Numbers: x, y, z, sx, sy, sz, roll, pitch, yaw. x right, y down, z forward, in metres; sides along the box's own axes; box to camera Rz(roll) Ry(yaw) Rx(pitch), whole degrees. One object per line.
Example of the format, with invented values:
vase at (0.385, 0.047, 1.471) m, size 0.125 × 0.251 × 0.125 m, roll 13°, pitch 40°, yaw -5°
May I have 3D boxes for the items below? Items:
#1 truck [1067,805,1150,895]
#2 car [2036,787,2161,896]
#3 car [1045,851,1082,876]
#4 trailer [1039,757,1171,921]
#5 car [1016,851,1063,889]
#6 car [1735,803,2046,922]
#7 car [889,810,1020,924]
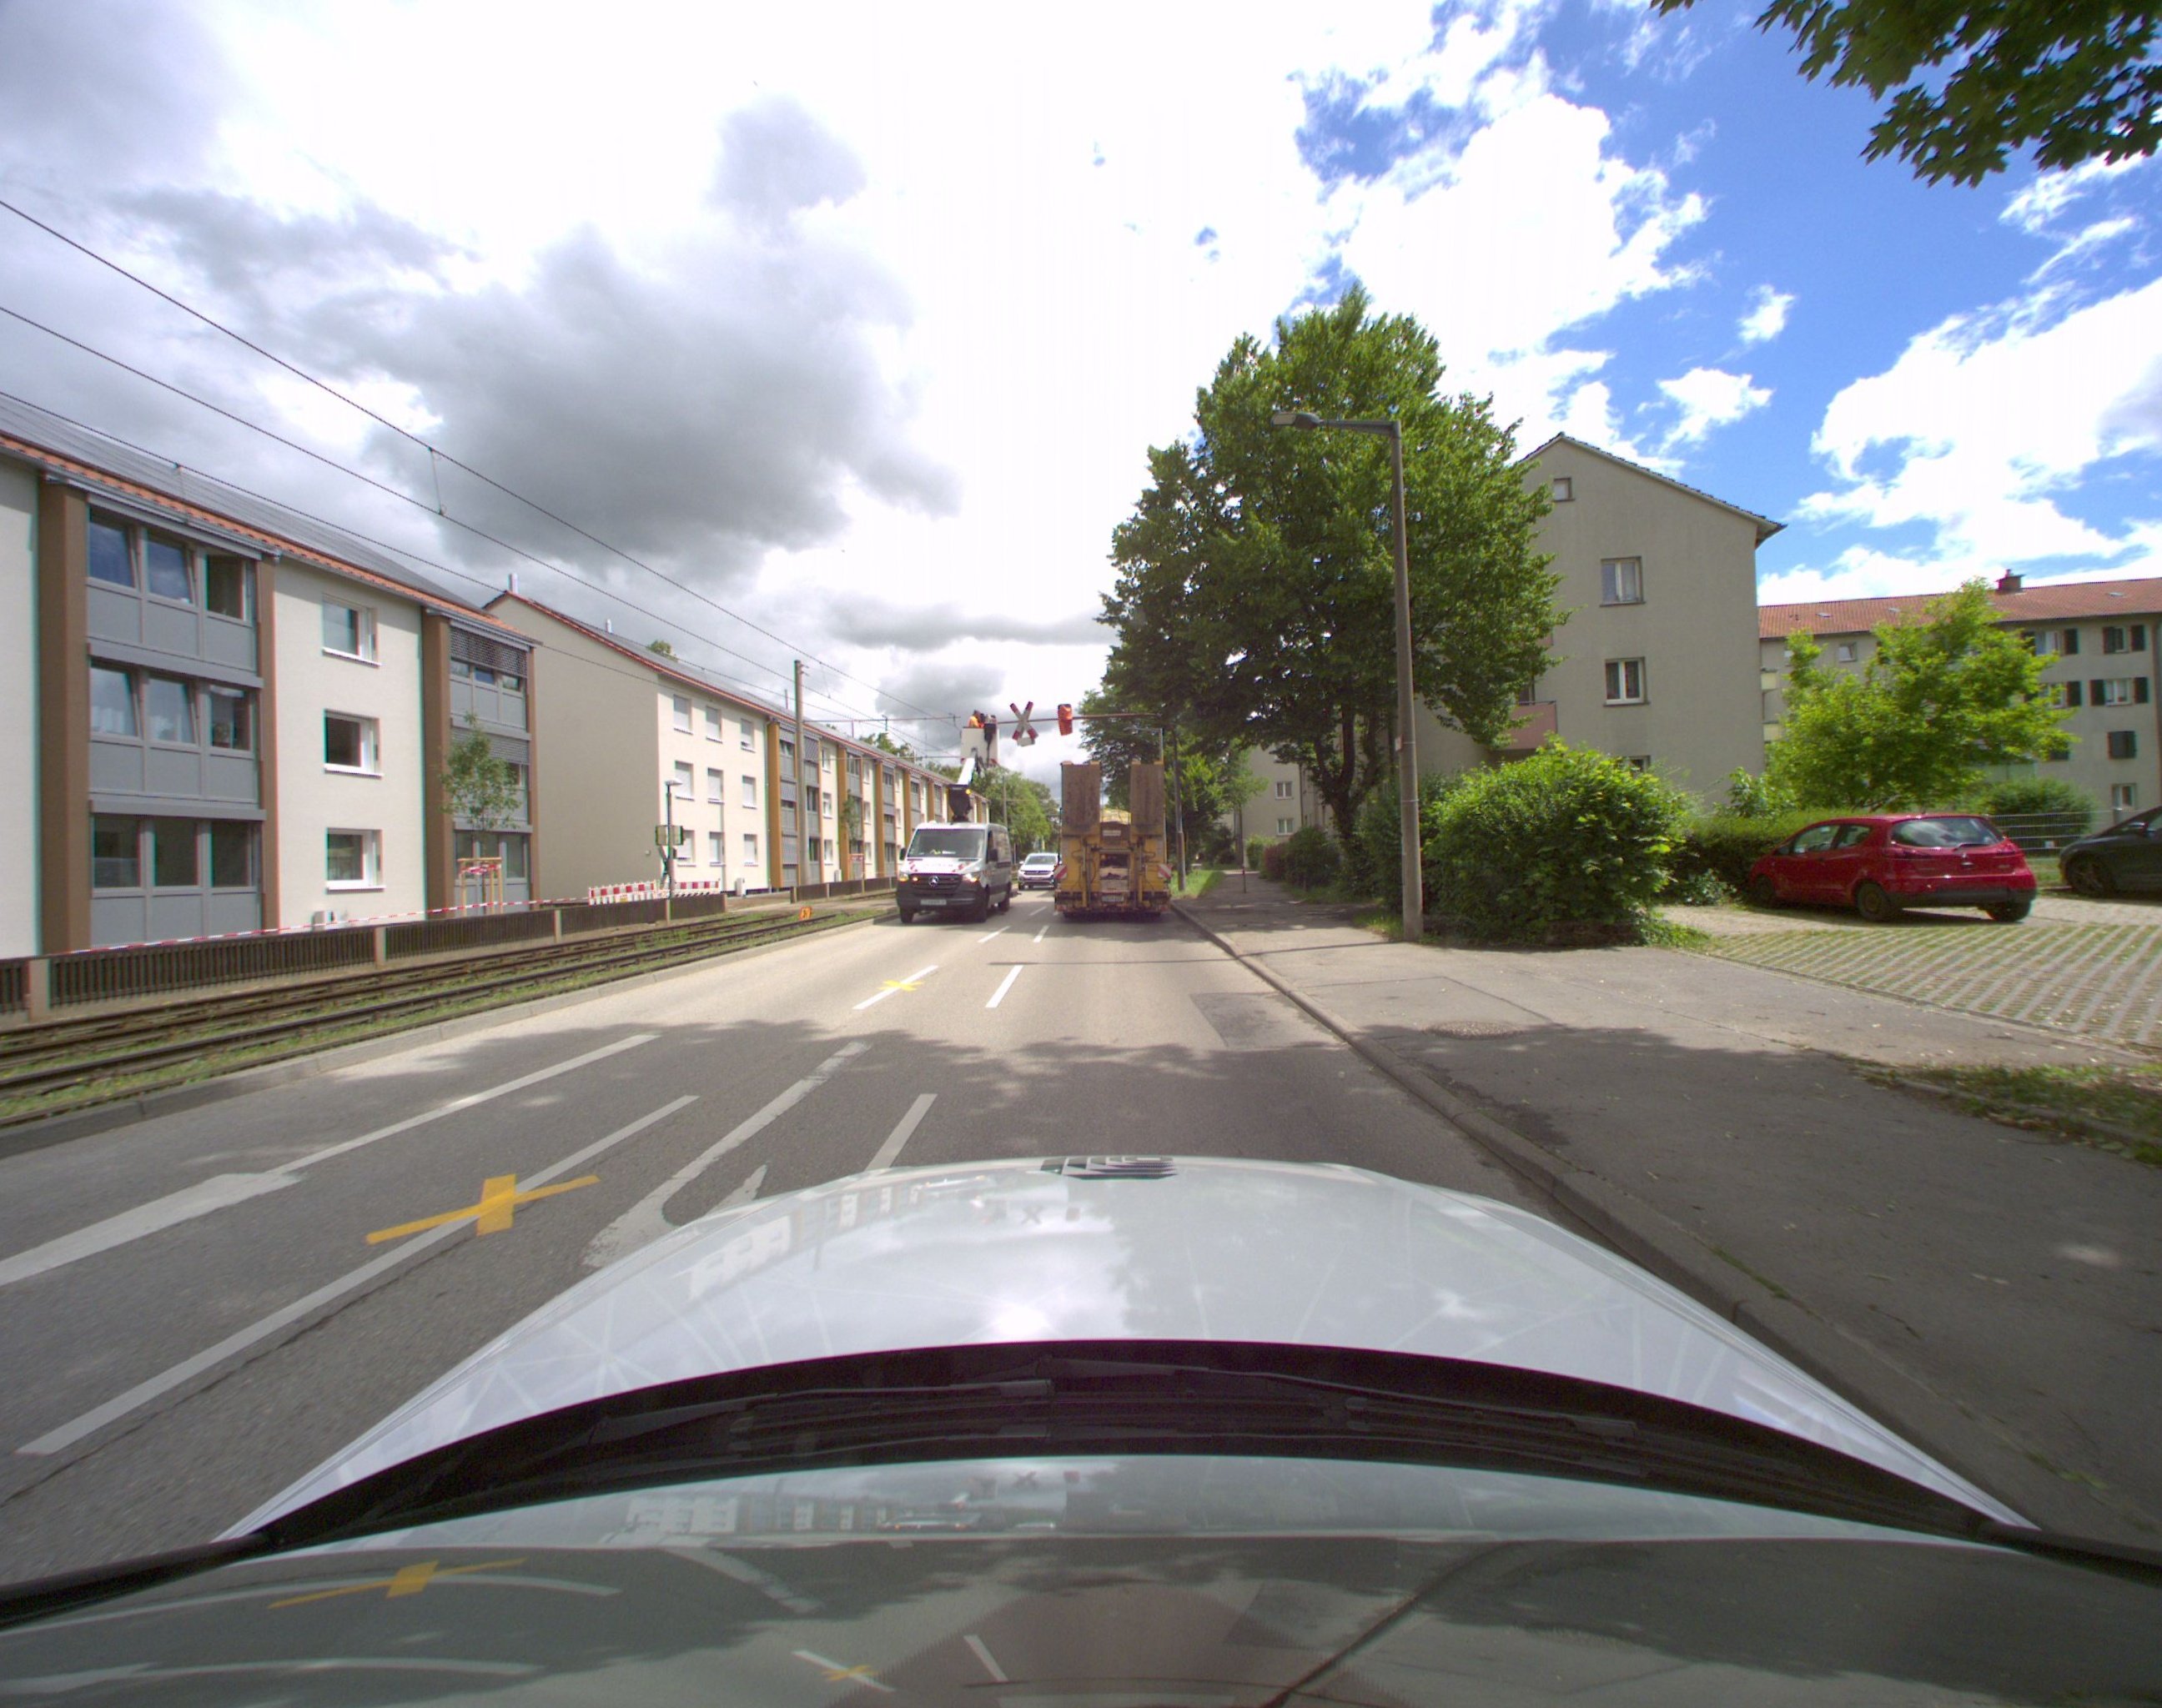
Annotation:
truck at (1.144, -0.161, 32.405) m, size 2.905 × 3.167 × 7.685 m, roll 0°, pitch 0°, yaw 3°
car at (16.758, -0.210, 11.667) m, size 1.786 × 1.607 × 4.120 m, roll -2°, pitch 0°, yaw 11°
car at (-1.045, 0.566, 50.715) m, size 1.871 × 1.481 × 4.533 m, roll 0°, pitch 0°, yaw 4°
trailer at (0.723, -0.340, 23.029) m, size 2.812 × 3.524 × 11.057 m, roll 0°, pitch 0°, yaw 2°
car at (-1.745, 0.657, 35.464) m, size 1.711 × 1.552 × 3.919 m, roll -1°, pitch 0°, yaw 2°
car at (12.019, 0.100, 12.470) m, size 1.651 × 1.480 × 3.706 m, roll -3°, pitch 0°, yaw 14°
car at (-2.946, 0.264, 20.589) m, size 1.985 × 2.430 × 6.327 m, roll -1°, pitch 0°, yaw 3°
